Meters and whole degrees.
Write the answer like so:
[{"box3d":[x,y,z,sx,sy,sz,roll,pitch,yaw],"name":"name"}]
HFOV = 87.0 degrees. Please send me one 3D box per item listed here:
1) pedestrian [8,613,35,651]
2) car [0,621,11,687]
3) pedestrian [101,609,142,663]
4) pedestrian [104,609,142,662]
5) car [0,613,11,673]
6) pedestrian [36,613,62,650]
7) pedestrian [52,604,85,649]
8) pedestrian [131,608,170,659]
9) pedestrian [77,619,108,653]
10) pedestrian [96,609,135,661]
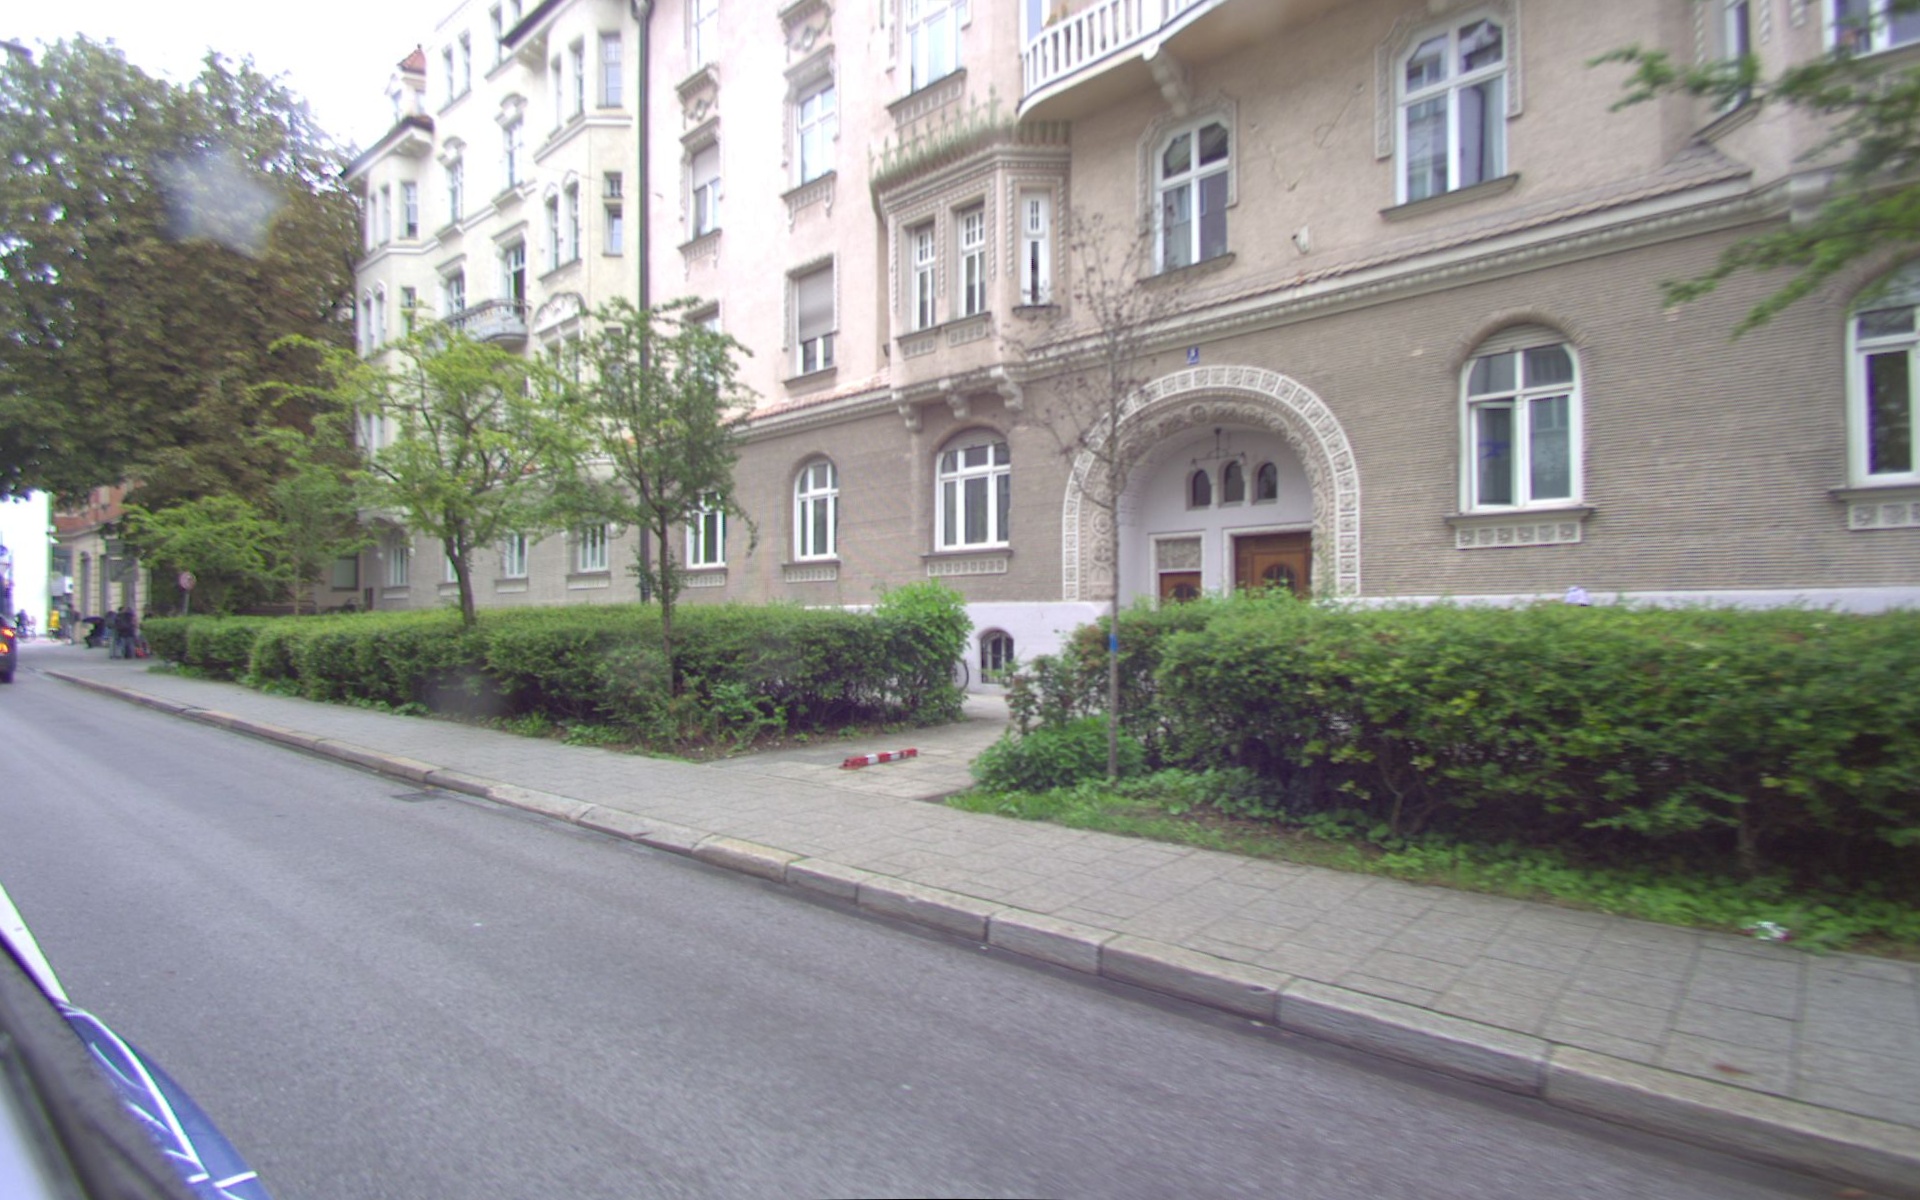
[{"box3d":[-51.188,1.740,55.203,0.938,2.029,1.399,1,-2,-38],"name":"pedestrian"},{"box3d":[-23.437,1.226,23.596,3.781,1.490,1.567,-1,-2,42],"name":"car"},{"box3d":[-27.647,1.177,33.380,0.846,1.758,0.898,-1,-2,41],"name":"pedestrian"},{"box3d":[-28.181,1.172,34.076,0.786,1.758,0.864,-1,-2,41],"name":"pedestrian"},{"box3d":[-28.372,1.199,28.696,4.272,1.657,1.749,-1,-2,42],"name":"car"},{"box3d":[-50.634,1.732,56.255,0.938,2.029,1.399,1,-2,-38],"name":"pedestrian"},{"box3d":[-40.626,1.224,46.149,0.769,2.029,0.831,0,-1,-1],"name":"pedestrian"},{"box3d":[-28.350,1.155,35.435,0.773,1.758,0.878,0,-1,-17],"name":"pedestrian"},{"box3d":[-34.991,1.461,40.814,0.753,1.351,0.820,-1,-2,39],"name":"pedestrian"},{"box3d":[-28.892,1.188,34.613,0.910,1.758,0.864,-1,-2,41],"name":"pedestrian"}]
